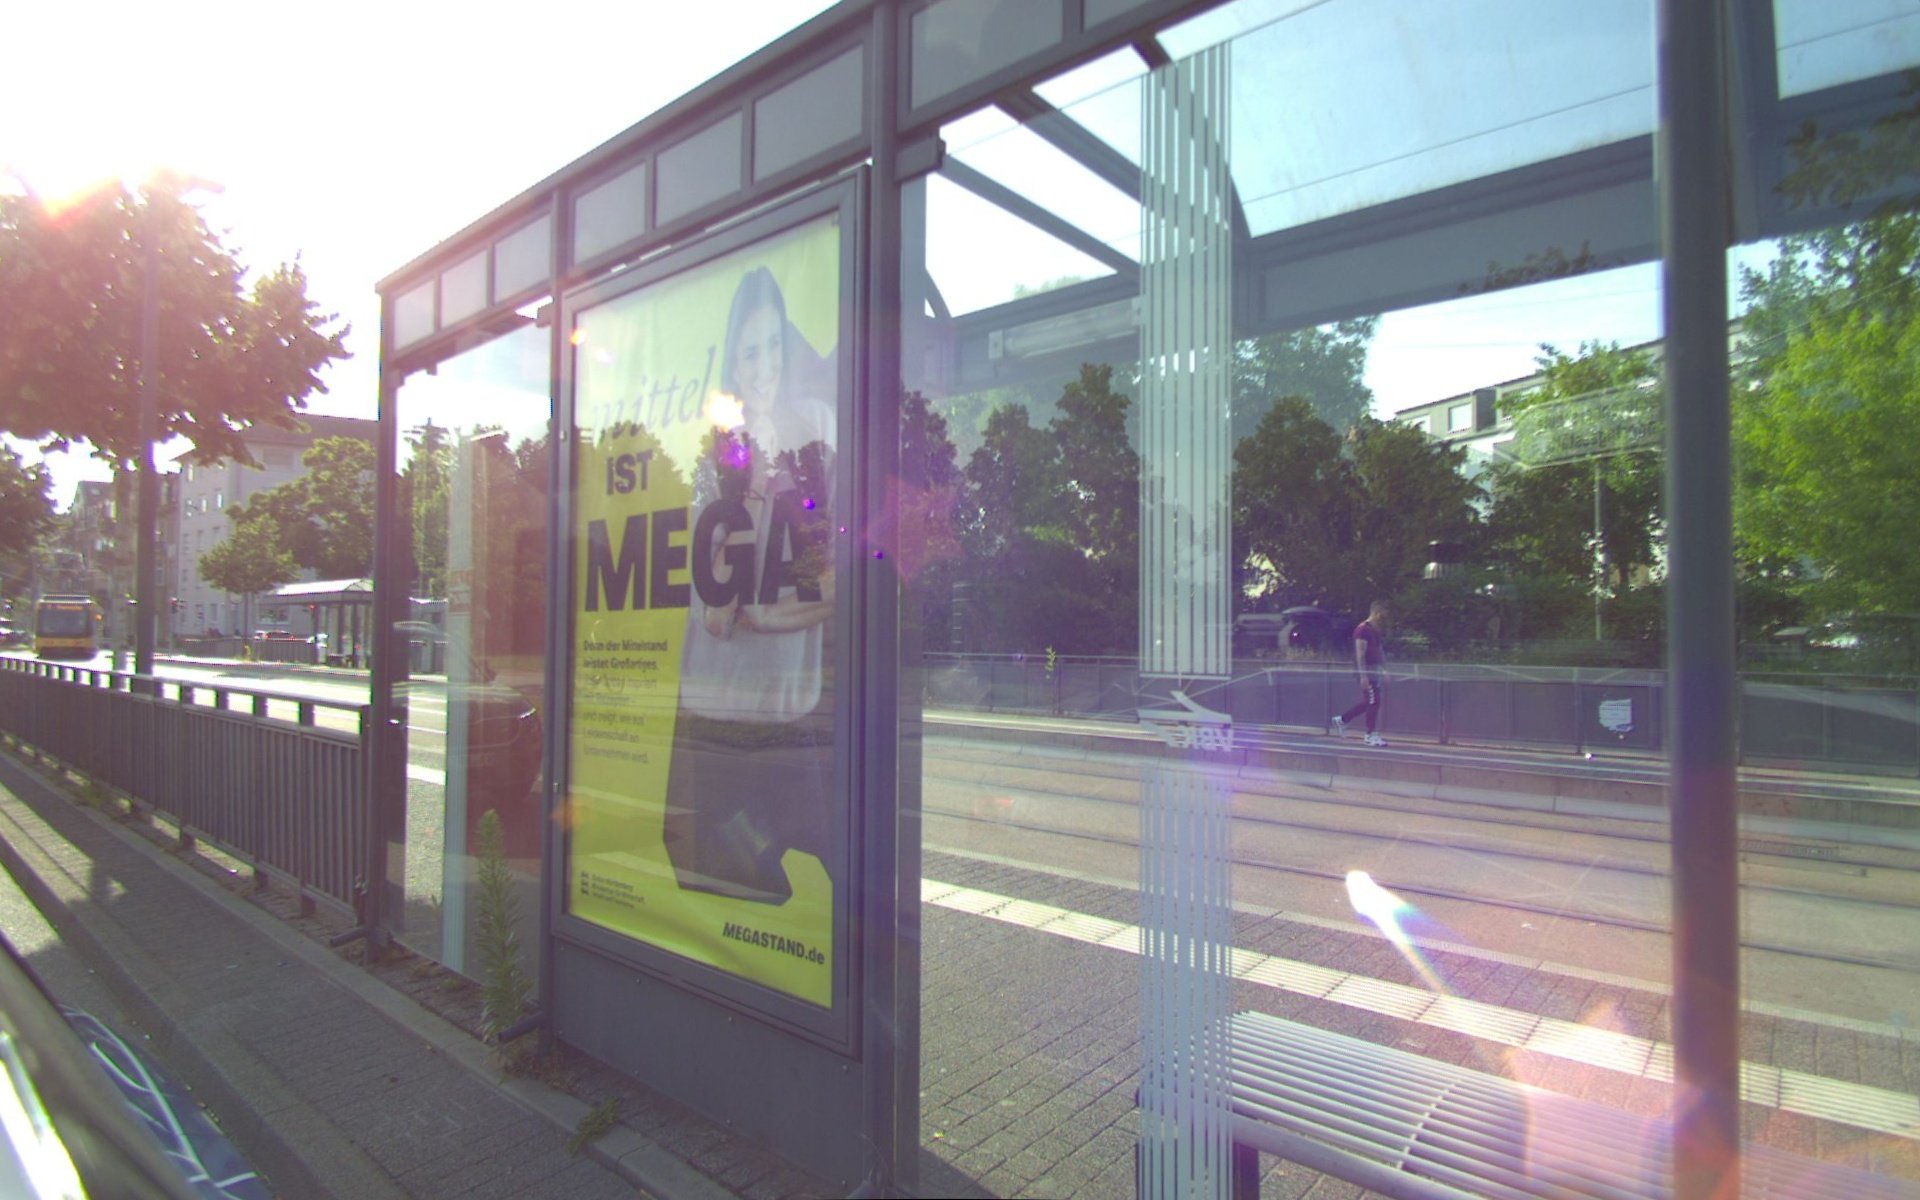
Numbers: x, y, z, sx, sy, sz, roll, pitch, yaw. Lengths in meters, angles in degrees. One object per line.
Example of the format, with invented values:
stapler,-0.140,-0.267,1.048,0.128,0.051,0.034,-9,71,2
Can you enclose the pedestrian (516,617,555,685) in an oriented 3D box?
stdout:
pedestrian,-10.945,1.313,26.080,0.618,1.697,0.613,-2,-6,41

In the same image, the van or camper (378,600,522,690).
van or camper,-18.763,1.542,37.085,6.408,2.990,2.494,-1,0,41

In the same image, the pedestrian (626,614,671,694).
pedestrian,-6.844,1.190,22.235,0.618,1.697,0.613,-2,-6,41

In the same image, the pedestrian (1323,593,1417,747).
pedestrian,4.733,0.802,11.683,0.877,1.697,0.547,-2,-6,41

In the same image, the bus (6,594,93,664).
bus,-48.934,1.465,54.273,9.257,3.461,2.405,-1,0,41

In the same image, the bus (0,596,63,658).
bus,-55.911,1.548,60.385,9.257,3.461,2.405,-1,0,41
